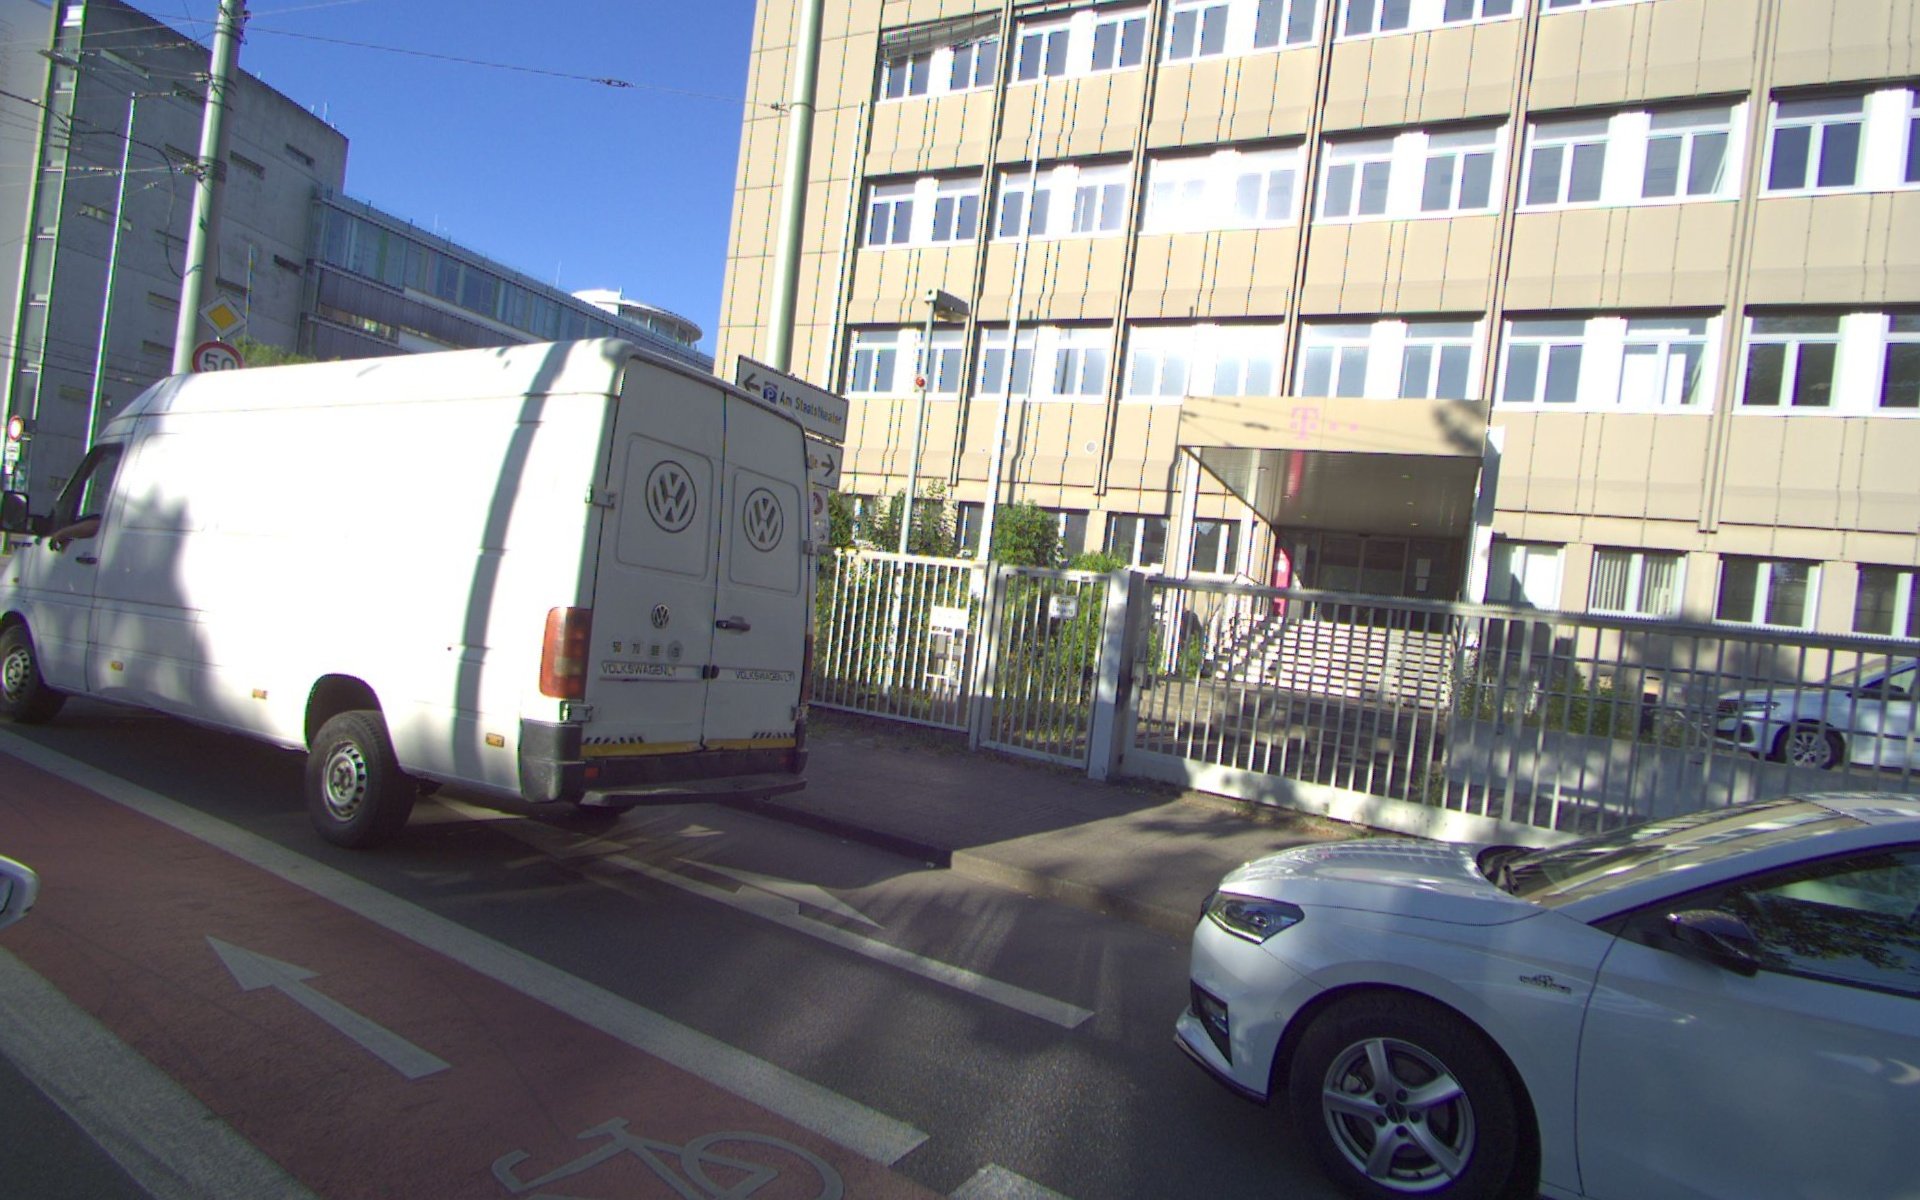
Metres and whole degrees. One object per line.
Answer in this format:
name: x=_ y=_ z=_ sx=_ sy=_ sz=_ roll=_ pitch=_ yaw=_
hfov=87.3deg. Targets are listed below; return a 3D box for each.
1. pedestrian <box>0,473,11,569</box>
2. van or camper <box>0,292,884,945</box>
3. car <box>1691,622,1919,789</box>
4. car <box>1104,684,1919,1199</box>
pedestrian: x=-19.203 y=-1.610 z=19.580 sx=1.198 sy=1.846 sz=0.777 roll=7 pitch=1 yaw=39
van or camper: x=-3.771 y=-0.155 z=6.563 sx=6.196 sy=2.748 sz=1.973 roll=7 pitch=-1 yaw=29
car: x=12.815 y=1.528 z=13.251 sx=4.701 sy=1.865 sz=1.998 roll=7 pitch=0 yaw=27
car: x=2.688 y=1.251 z=3.018 sx=4.006 sy=1.405 sz=1.705 roll=7 pitch=-1 yaw=30
